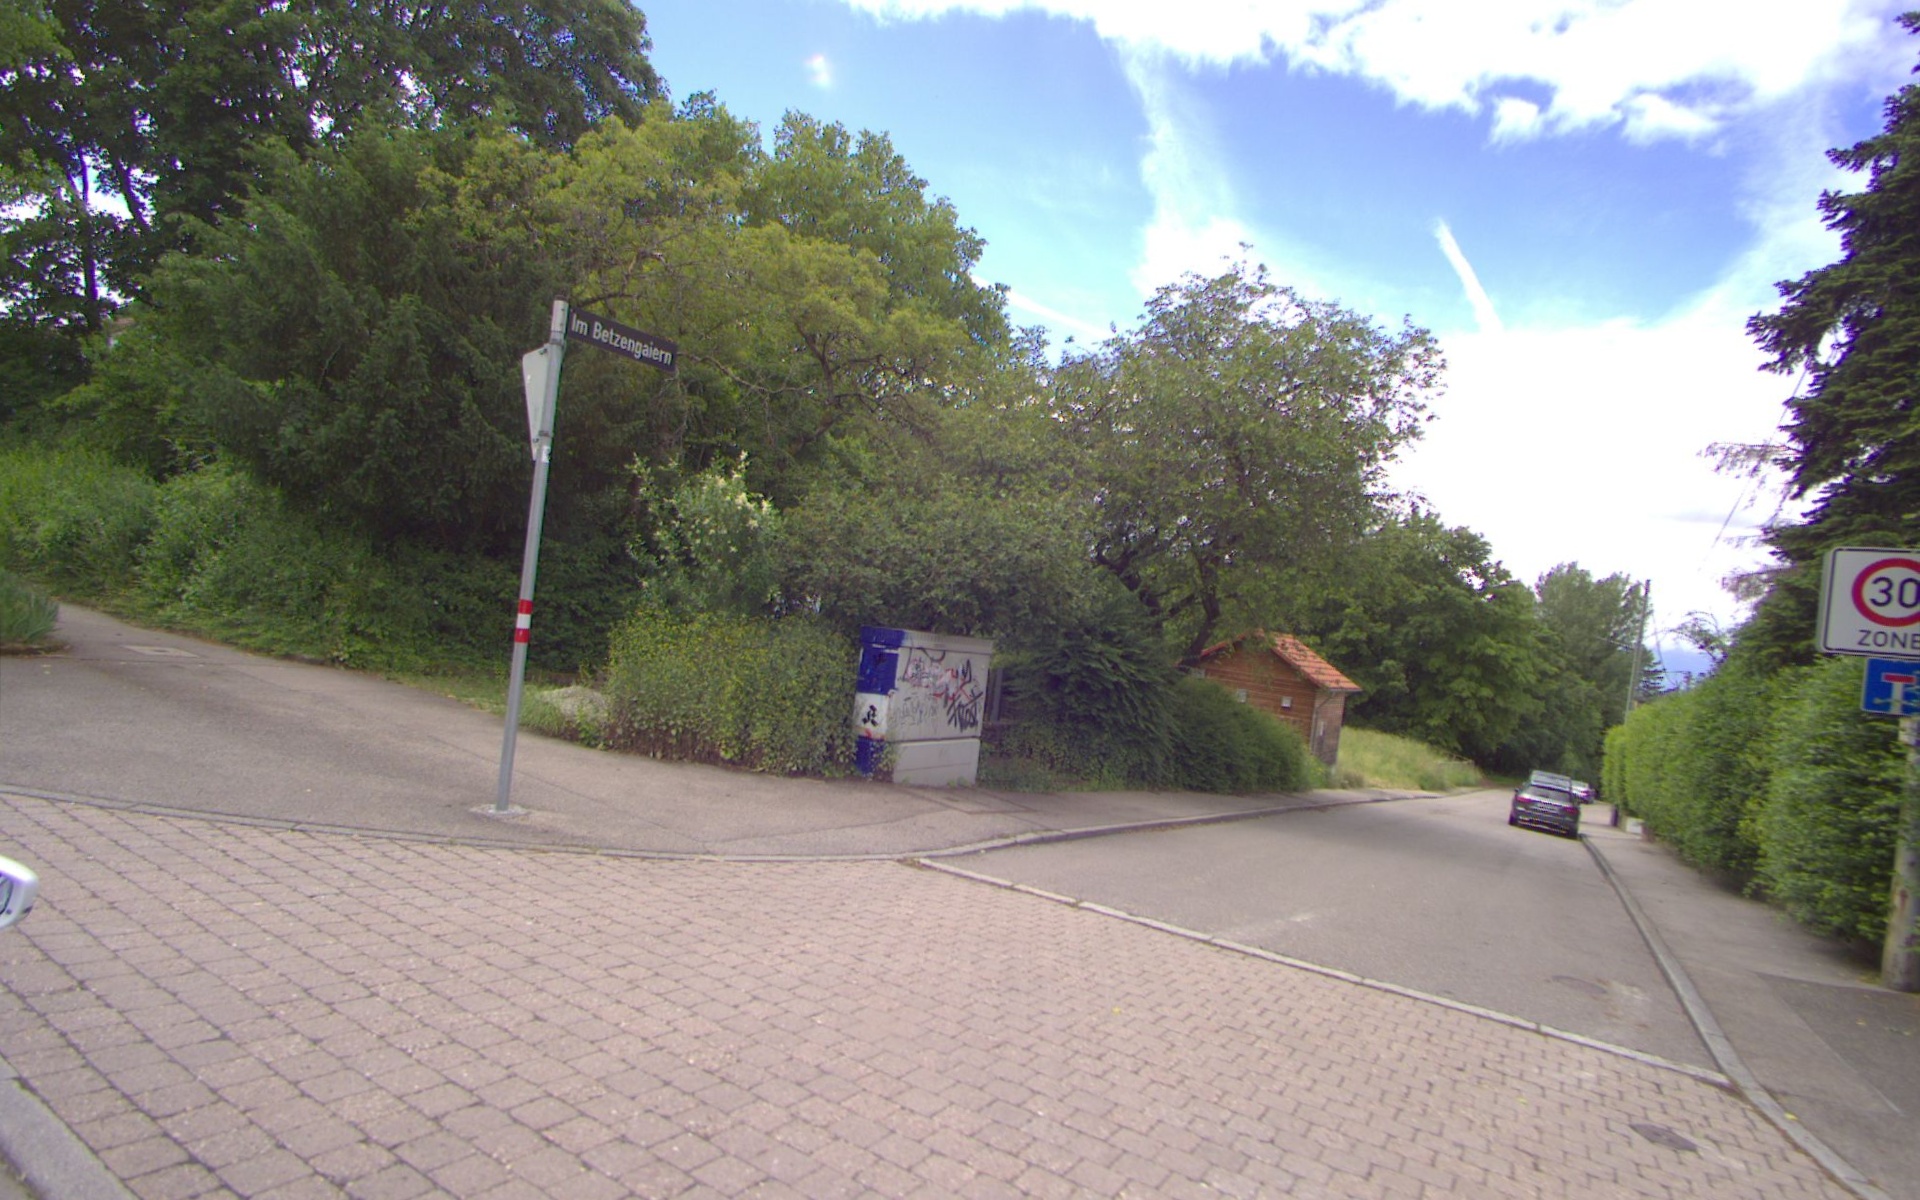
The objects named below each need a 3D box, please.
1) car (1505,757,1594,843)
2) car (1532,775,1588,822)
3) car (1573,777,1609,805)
[{"bbox_3d":[17.696,5.878,30.112,1.968,2.035,3.995,6,-4,33],"label":"car"},{"bbox_3d":[26.224,8.630,43.915,1.831,1.650,3.792,6,-6,33],"label":"car"},{"bbox_3d":[41.656,12.618,66.406,1.831,1.463,3.792,6,-6,33],"label":"car"}]
